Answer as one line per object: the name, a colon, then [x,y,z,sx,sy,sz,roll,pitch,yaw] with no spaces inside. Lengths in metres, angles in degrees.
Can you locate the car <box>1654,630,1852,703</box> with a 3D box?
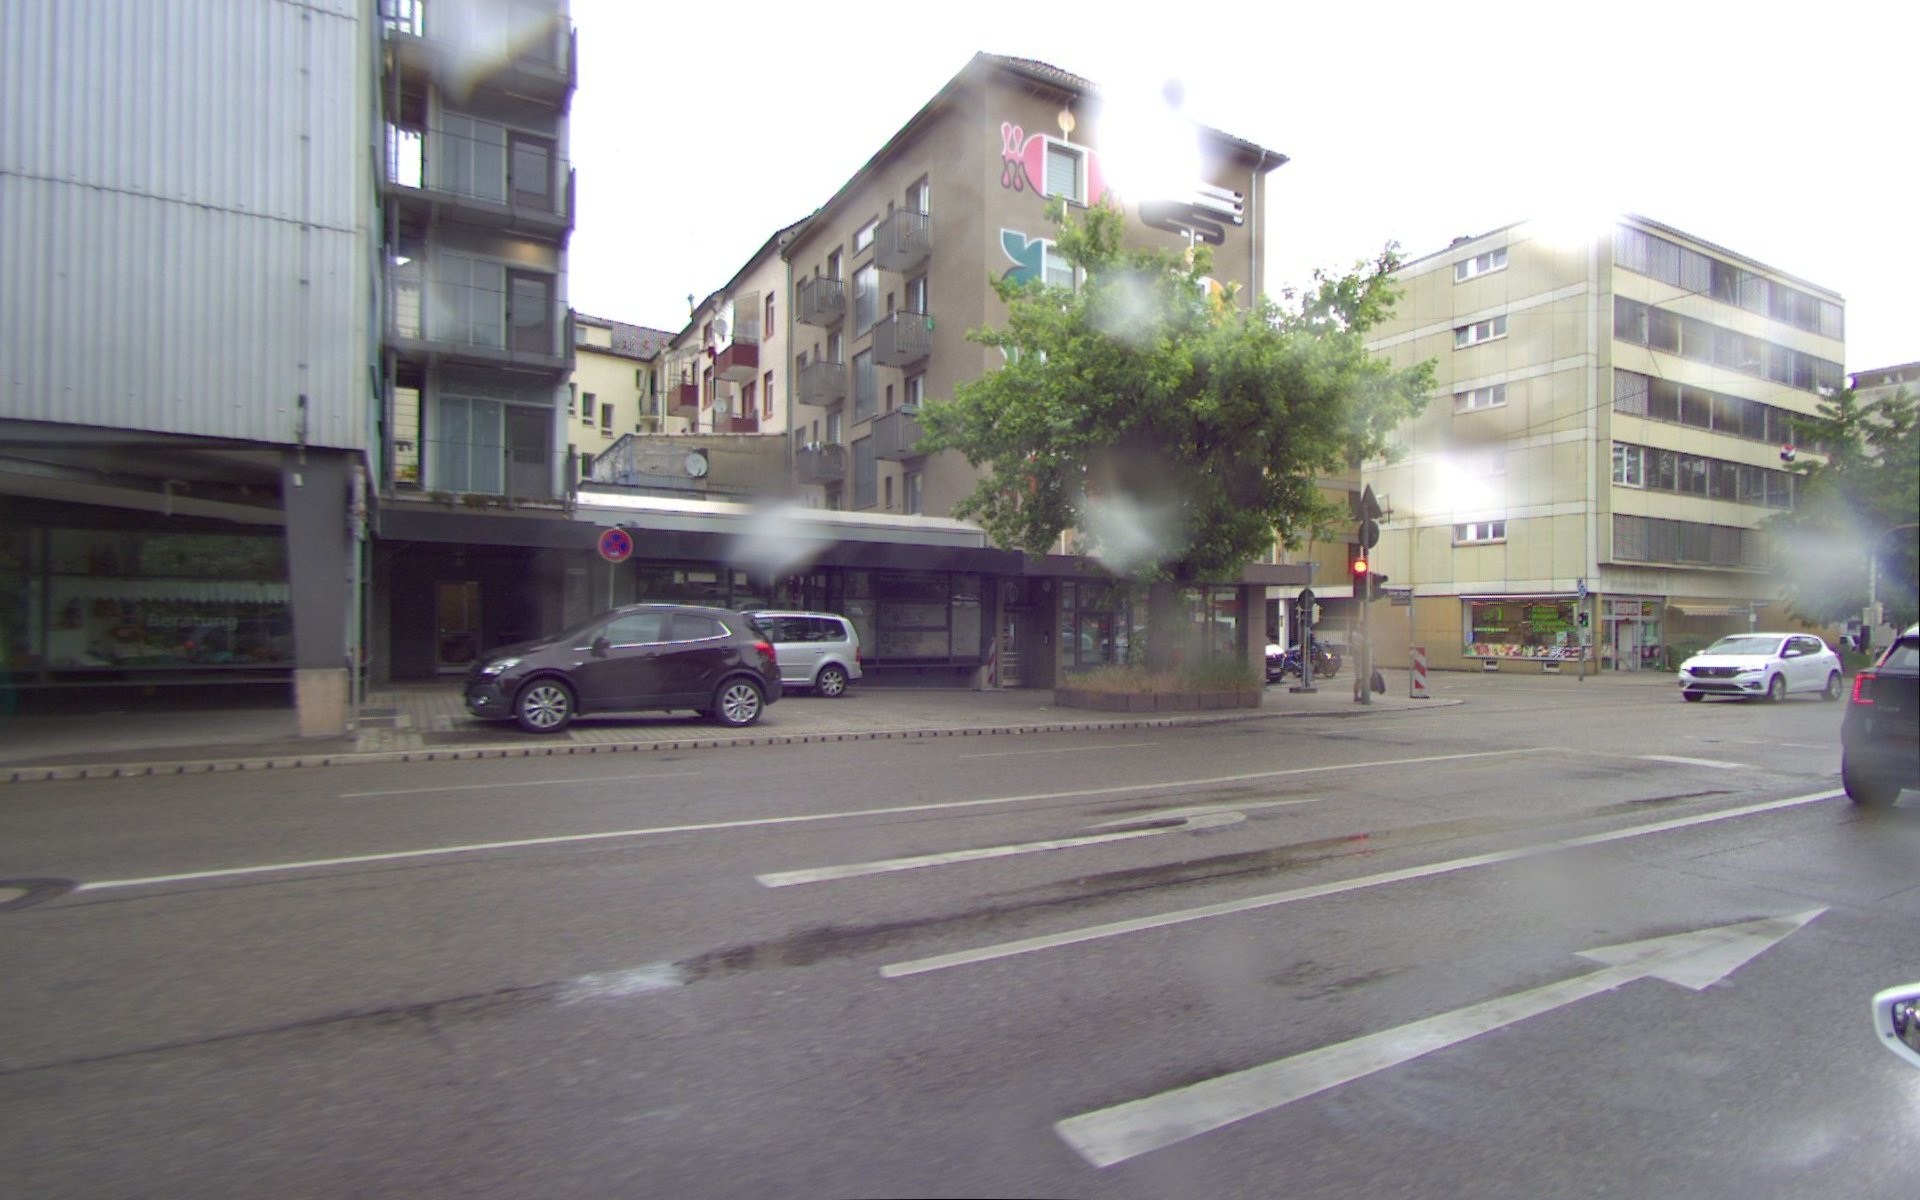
car: [17.886,1.478,22.646,4.036,1.513,1.987,1,-4,-28]

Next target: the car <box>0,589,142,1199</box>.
car: [-3.293,0.703,0.708,3.953,1.472,1.747,1,-1,-31]

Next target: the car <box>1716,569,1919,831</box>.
car: [6.852,0.583,6.679,3.922,1.439,1.604,1,-1,-31]

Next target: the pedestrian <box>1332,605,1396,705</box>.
pedestrian: [8.571,1.162,21.317,0.879,2.040,0.933,2,-3,-39]

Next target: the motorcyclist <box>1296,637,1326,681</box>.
motorcyclist: [13.621,2.285,38.981,0.908,1.684,0.704,-2,-4,44]

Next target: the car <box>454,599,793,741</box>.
car: [-4.591,0.893,13.909,4.237,1.728,1.532,1,-1,-30]

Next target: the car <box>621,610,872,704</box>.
car: [-4.175,1.077,19.842,4.459,1.676,1.983,2,-1,-31]

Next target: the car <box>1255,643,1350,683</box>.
car: [17.396,3.221,51.223,2.008,1.944,4.420,1,-4,-27]

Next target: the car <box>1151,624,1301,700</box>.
car: [10.188,2.424,39.001,2.160,2.747,5.733,1,-4,-30]

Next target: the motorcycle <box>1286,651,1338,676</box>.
motorcycle: [13.638,2.445,38.968,1.833,0.947,0.614,-3,-4,45]
